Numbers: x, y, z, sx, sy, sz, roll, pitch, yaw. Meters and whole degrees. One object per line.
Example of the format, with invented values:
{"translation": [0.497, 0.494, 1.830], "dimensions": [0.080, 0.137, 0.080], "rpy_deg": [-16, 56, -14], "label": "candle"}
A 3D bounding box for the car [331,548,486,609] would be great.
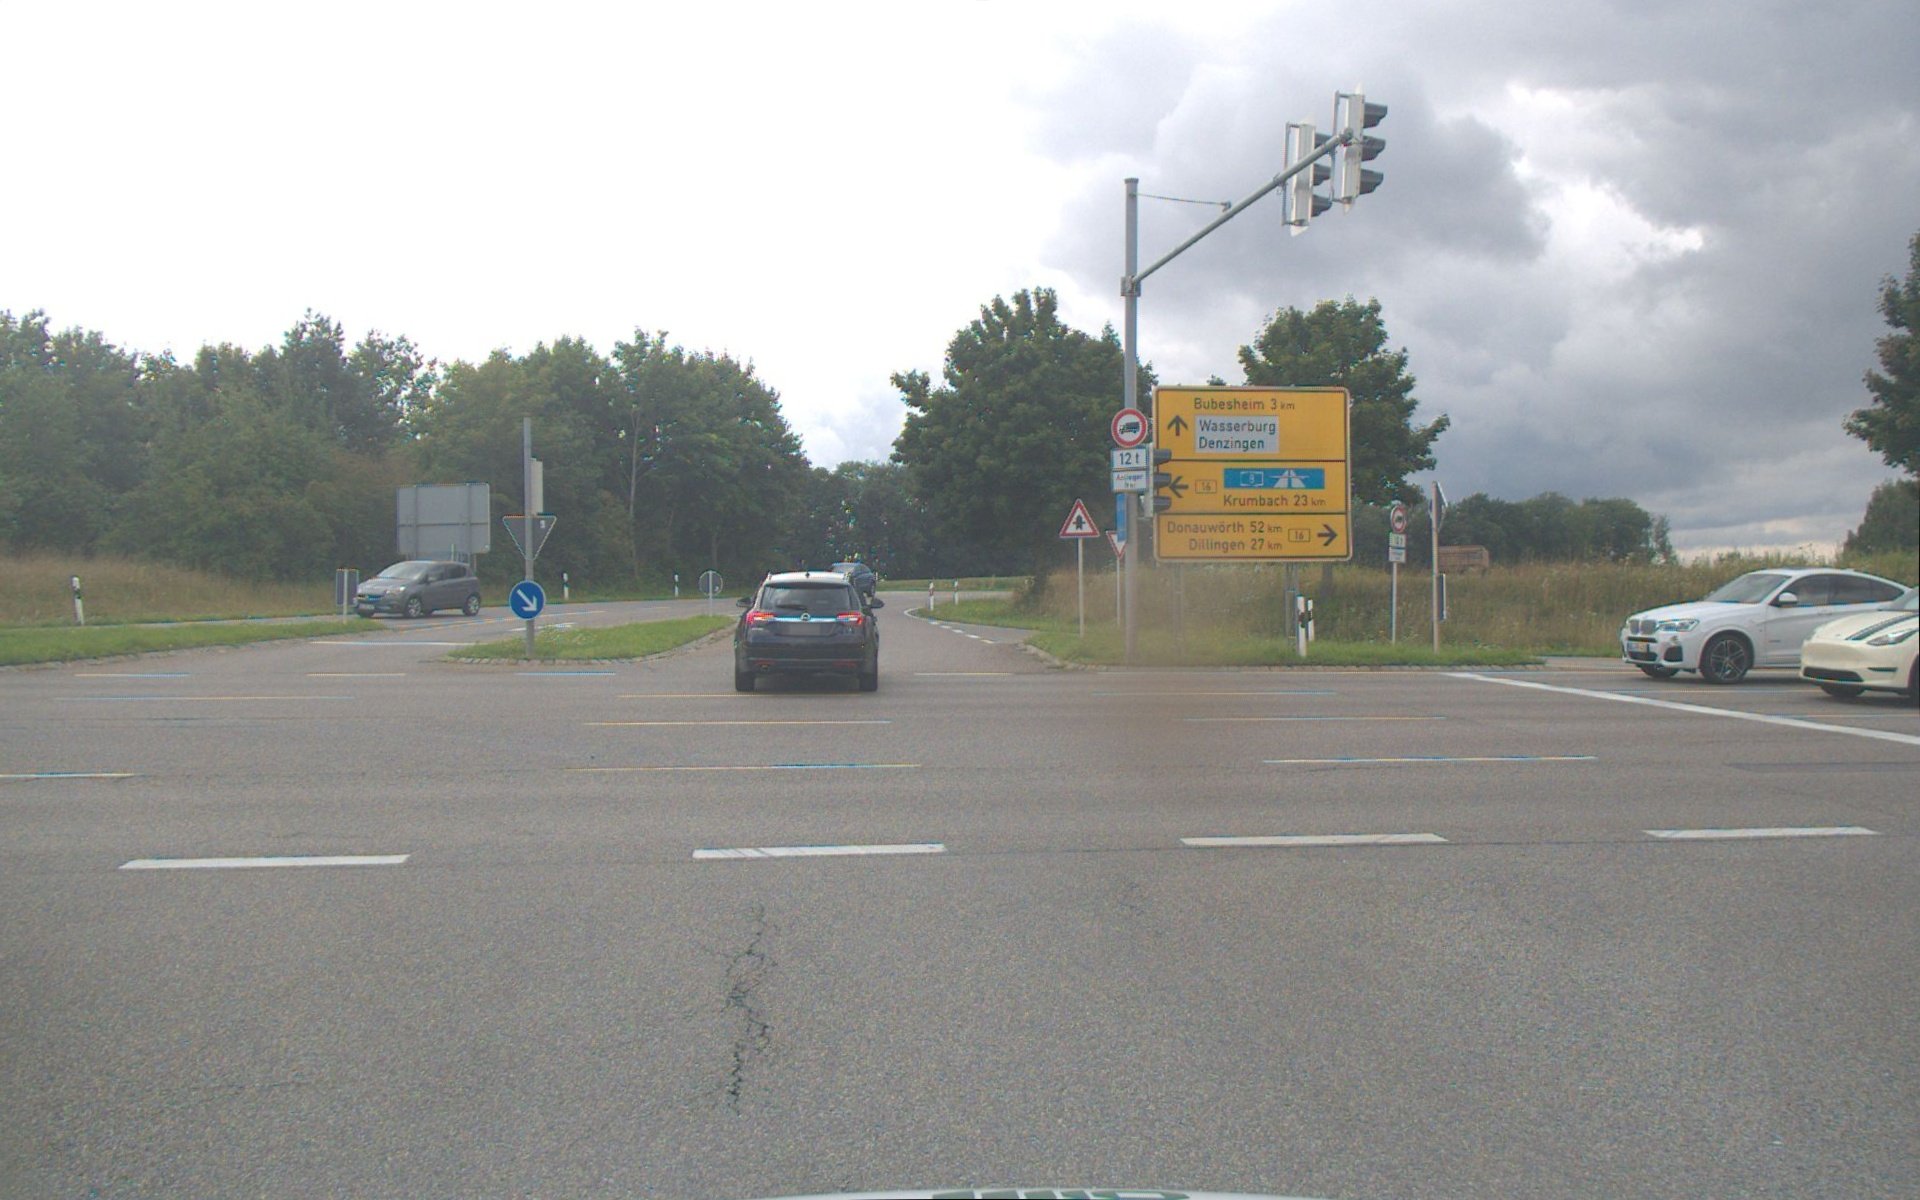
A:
{"translation": [-14.628, -0.551, 44.077], "dimensions": [1.952, 1.562, 4.002], "rpy_deg": [0, 0, 18], "label": "car"}

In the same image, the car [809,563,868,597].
{"translation": [-5.871, -0.996, 80.284], "dimensions": [1.951, 1.598, 4.760], "rpy_deg": [0, 1, 7], "label": "car"}

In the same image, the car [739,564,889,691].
{"translation": [-1.877, 0.277, 21.742], "dimensions": [1.772, 1.476, 4.270], "rpy_deg": [0, 2, -4], "label": "car"}

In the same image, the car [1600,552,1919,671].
{"translation": [11.923, 0.165, 24.433], "dimensions": [4.182, 1.657, 1.996], "rpy_deg": [0, 0, -9], "label": "car"}

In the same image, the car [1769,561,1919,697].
{"translation": [12.830, 0.343, 20.610], "dimensions": [4.645, 1.592, 1.996], "rpy_deg": [0, 0, -9], "label": "car"}
